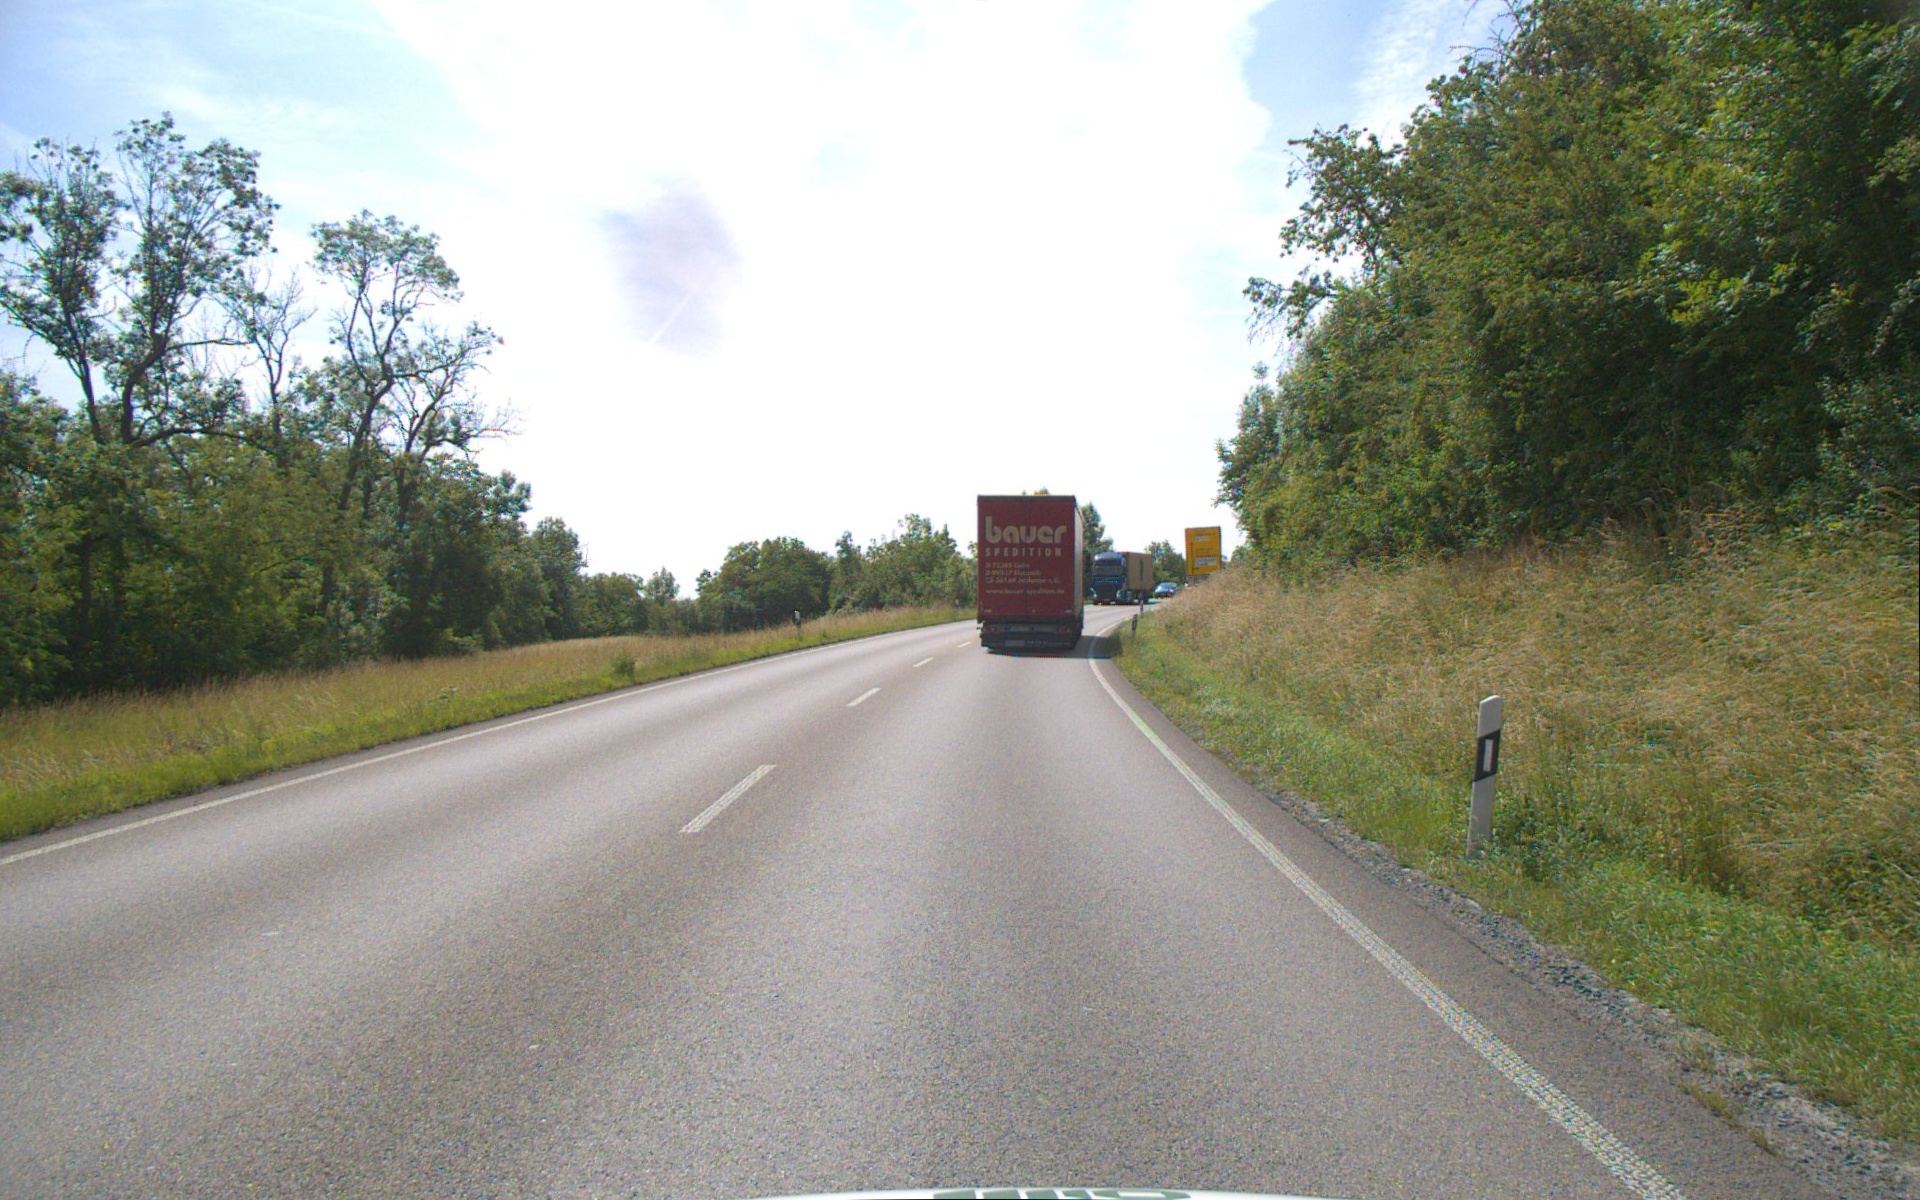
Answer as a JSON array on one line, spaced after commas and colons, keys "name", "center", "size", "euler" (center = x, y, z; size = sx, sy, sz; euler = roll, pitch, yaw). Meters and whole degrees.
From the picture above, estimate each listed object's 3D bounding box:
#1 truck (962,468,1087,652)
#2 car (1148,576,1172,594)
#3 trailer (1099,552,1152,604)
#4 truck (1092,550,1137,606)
[{"name": "truck", "center": [2.094, -1.085, 47.699], "size": [3.047, 4.584, 12.175], "euler": [1, 1, 4]}, {"name": "car", "center": [18.872, -1.455, 155.866], "size": [1.823, 1.511, 4.363], "euler": [-4, 0, 12]}, {"name": "trailer", "center": [13.754, -1.740, 136.490], "size": [2.933, 4.114, 12.928], "euler": [0, 0, 12]}, {"name": "truck", "center": [12.023, -1.708, 128.342], "size": [2.746, 4.138, 5.991], "euler": [-1, 0, 12]}]
